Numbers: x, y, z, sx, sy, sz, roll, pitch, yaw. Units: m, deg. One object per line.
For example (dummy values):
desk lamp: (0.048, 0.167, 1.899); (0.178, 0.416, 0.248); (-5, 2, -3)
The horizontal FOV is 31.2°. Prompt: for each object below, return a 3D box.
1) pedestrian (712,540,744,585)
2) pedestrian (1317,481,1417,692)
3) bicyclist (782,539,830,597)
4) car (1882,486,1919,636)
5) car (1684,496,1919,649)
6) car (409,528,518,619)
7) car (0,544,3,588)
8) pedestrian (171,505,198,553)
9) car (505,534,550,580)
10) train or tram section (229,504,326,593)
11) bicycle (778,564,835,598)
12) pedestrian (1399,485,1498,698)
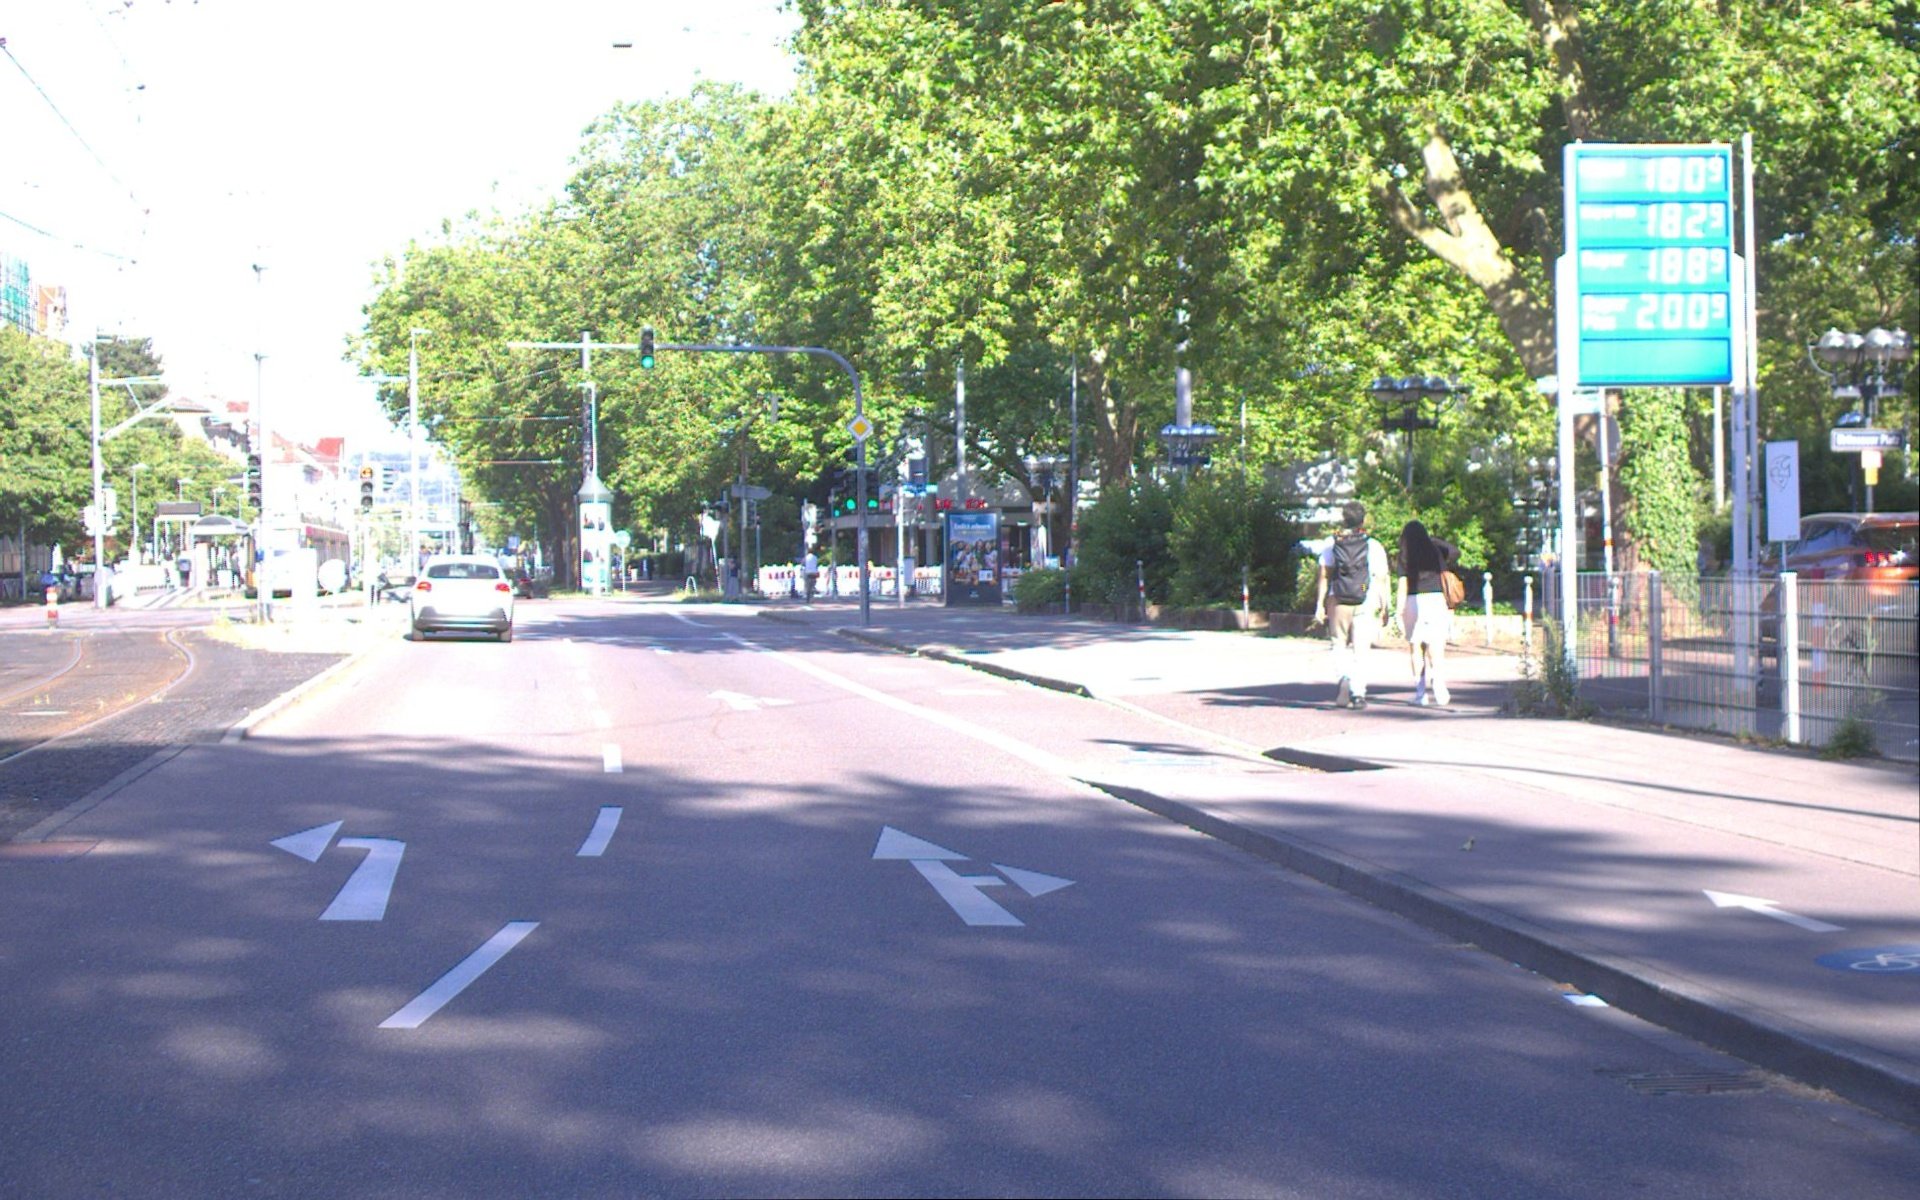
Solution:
pedestrian: (-7.337, -1.176, 108.775); (0.660, 1.383, 0.831); (2, 1, 25)
pedestrian: (3.530, -0.125, 29.878); (0.603, 1.770, 0.879); (-4, 1, -3)
bicyclist: (-4.604, -0.960, 102.735); (1.198, 1.691, 0.904); (2, 1, -14)
car: (12.186, -0.414, 38.588); (1.859, 1.729, 4.800); (-1, 2, -7)
car: (9.974, -0.369, 39.071); (1.817, 1.596, 4.664); (-1, 2, -10)
car: (-8.522, -0.479, 59.065); (1.745, 1.457, 3.645); (2, 1, -8)
car: (-32.601, -1.081, 112.021); (1.993, 1.444, 4.841); (0, 1, -7)
pedestrian: (-30.140, -2.751, 133.574); (0.962, 1.827, 0.990); (2, 1, -13)
car: (-19.947, -1.985, 158.650); (1.993, 2.007, 4.001); (2, 1, -7)
train or tram section: (-27.930, -2.125, 141.076); (2.951, 3.398, 10.793); (2, 1, -7)
bicycle: (-4.600, -0.567, 102.674); (1.198, 0.931, 2.575); (2, 1, -14)
pedestrian: (4.196, -0.077, 29.553); (0.603, 1.770, 0.690); (-4, 1, -3)
